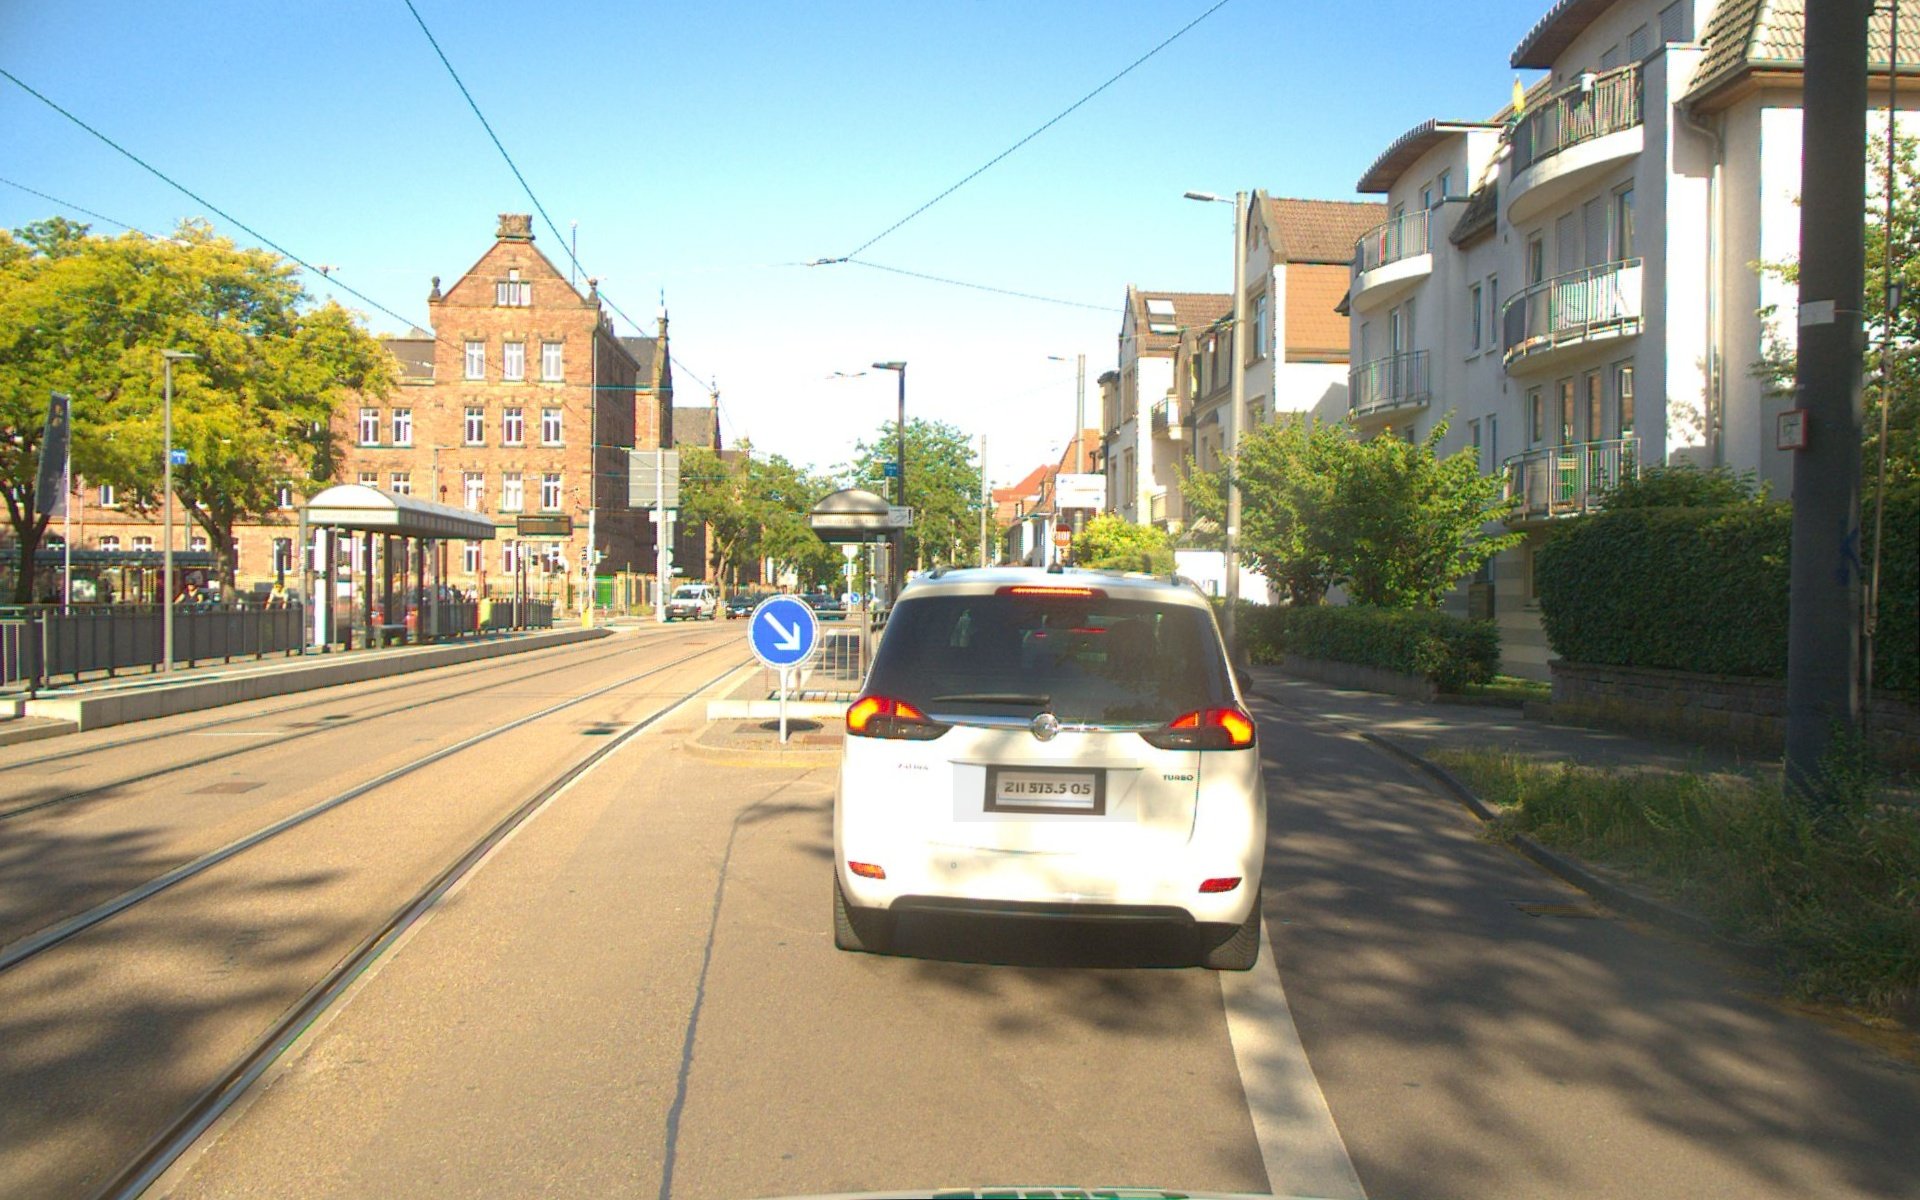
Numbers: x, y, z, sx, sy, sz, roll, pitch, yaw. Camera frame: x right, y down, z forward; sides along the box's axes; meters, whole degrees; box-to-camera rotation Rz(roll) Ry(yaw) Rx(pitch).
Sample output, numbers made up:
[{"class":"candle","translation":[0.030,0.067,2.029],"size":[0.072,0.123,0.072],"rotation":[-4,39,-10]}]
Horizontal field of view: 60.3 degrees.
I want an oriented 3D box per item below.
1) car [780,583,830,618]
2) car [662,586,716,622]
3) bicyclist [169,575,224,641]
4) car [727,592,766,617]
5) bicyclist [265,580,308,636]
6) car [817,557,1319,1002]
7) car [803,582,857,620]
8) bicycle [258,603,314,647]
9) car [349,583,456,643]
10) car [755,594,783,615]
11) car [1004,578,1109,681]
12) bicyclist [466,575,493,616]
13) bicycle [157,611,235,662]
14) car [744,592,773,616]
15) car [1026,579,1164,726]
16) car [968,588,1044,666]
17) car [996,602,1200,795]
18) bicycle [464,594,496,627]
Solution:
[{"class":"car","translation":[-9.132,0.015,97.065],"size":[1.964,2.049,3.976],"rotation":[0,0,-20]},{"class":"car","translation":[-14.294,0.208,87.389],"size":[1.788,1.819,4.258],"rotation":[0,0,5]},{"class":"bicyclist","translation":[-17.573,0.186,38.088],"size":[0.639,1.485,1.153],"rotation":[0,0,6]},{"class":"car","translation":[-12.951,0.256,100.601],"size":[1.761,1.406,4.495],"rotation":[0,1,0]},{"class":"bicyclist","translation":[-18.057,0.218,44.371],"size":[0.639,1.485,1.152],"rotation":[0,0,2]},{"class":"car","translation":[0.551,0.641,8.086],"size":[1.838,1.613,4.002],"rotation":[0,0,5]},{"class":"car","translation":[-7.221,0.021,91.478],"size":[1.964,2.049,3.976],"rotation":[0,0,-20]},{"class":"bicycle","translation":[-18.074,0.690,44.393],"size":[0.670,1.108,1.855],"rotation":[-3,-2,2]},{"class":"car","translation":[-15.878,0.338,47.328],"size":[1.782,1.635,4.356],"rotation":[0,0,-3]},{"class":"car","translation":[-13.948,0.319,121.054],"size":[1.791,1.471,4.323],"rotation":[1,-1,-4]},{"class":"car","translation":[1.678,0.490,29.818],"size":[1.563,1.663,3.900],"rotation":[2,0,-1]},{"class":"bicyclist","translation":[-18.524,-0.164,63.813],"size":[0.745,1.563,1.347],"rotation":[0,0,-4]},{"class":"bicycle","translation":[-17.568,0.819,38.088],"size":[0.670,1.108,2.065],"rotation":[0,0,5]},{"class":"car","translation":[-13.760,0.287,113.117],"size":[1.791,1.645,4.322],"rotation":[1,-1,-6]},{"class":"car","translation":[1.716,0.592,21.048],"size":[1.536,1.643,3.786],"rotation":[2,0,5]},{"class":"car","translation":[1.035,0.584,39.022],"size":[1.563,1.663,3.901],"rotation":[2,1,-1]},{"class":"car","translation":[1.227,0.765,14.788],"size":[1.536,1.426,3.786],"rotation":[2,0,5]},{"class":"bicycle","translation":[-18.541,0.391,63.879],"size":[0.761,1.252,2.087],"rotation":[0,0,-4]}]
